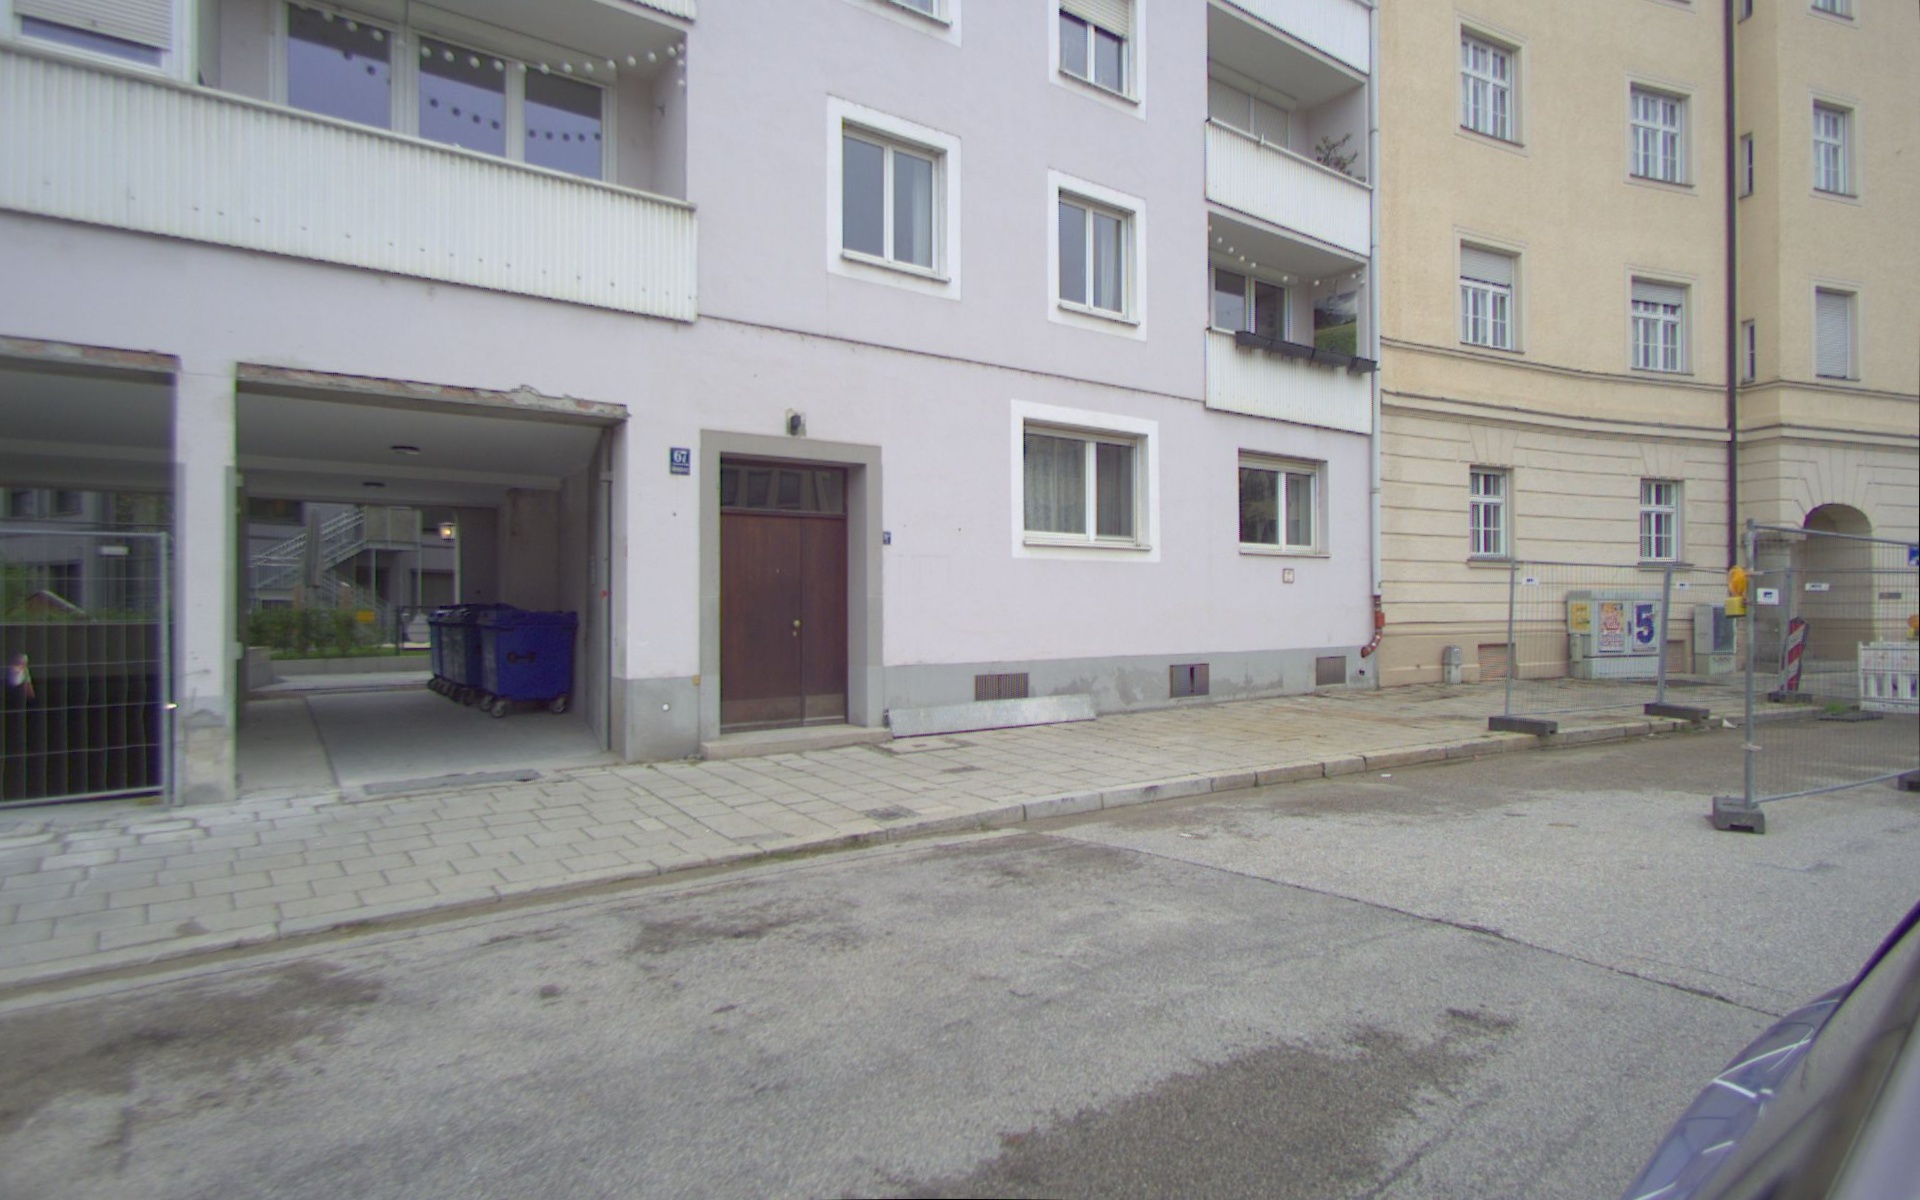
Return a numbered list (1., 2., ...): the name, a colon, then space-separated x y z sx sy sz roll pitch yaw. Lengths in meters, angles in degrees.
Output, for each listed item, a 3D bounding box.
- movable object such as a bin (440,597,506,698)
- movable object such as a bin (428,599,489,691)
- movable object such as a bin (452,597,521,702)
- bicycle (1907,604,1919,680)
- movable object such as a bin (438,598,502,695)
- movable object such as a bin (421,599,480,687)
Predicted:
1. movable object such as a bin: -7.149 0.673 14.854 0.768 1.426 0.643 0 -1 -38
2. movable object such as a bin: -8.063 0.699 16.275 0.768 1.426 0.643 0 -1 -38
3. movable object such as a bin: -6.710 0.675 14.340 0.768 1.426 0.643 0 -1 -38
4. bicycle: 16.914 0.699 17.112 1.636 1.274 0.640 0 -1 -20
5. movable object such as a bin: -7.519 0.690 15.515 0.768 1.426 0.643 0 -1 -38
6. movable object such as a bin: -8.534 0.702 16.942 0.768 1.426 0.643 0 -1 -38
